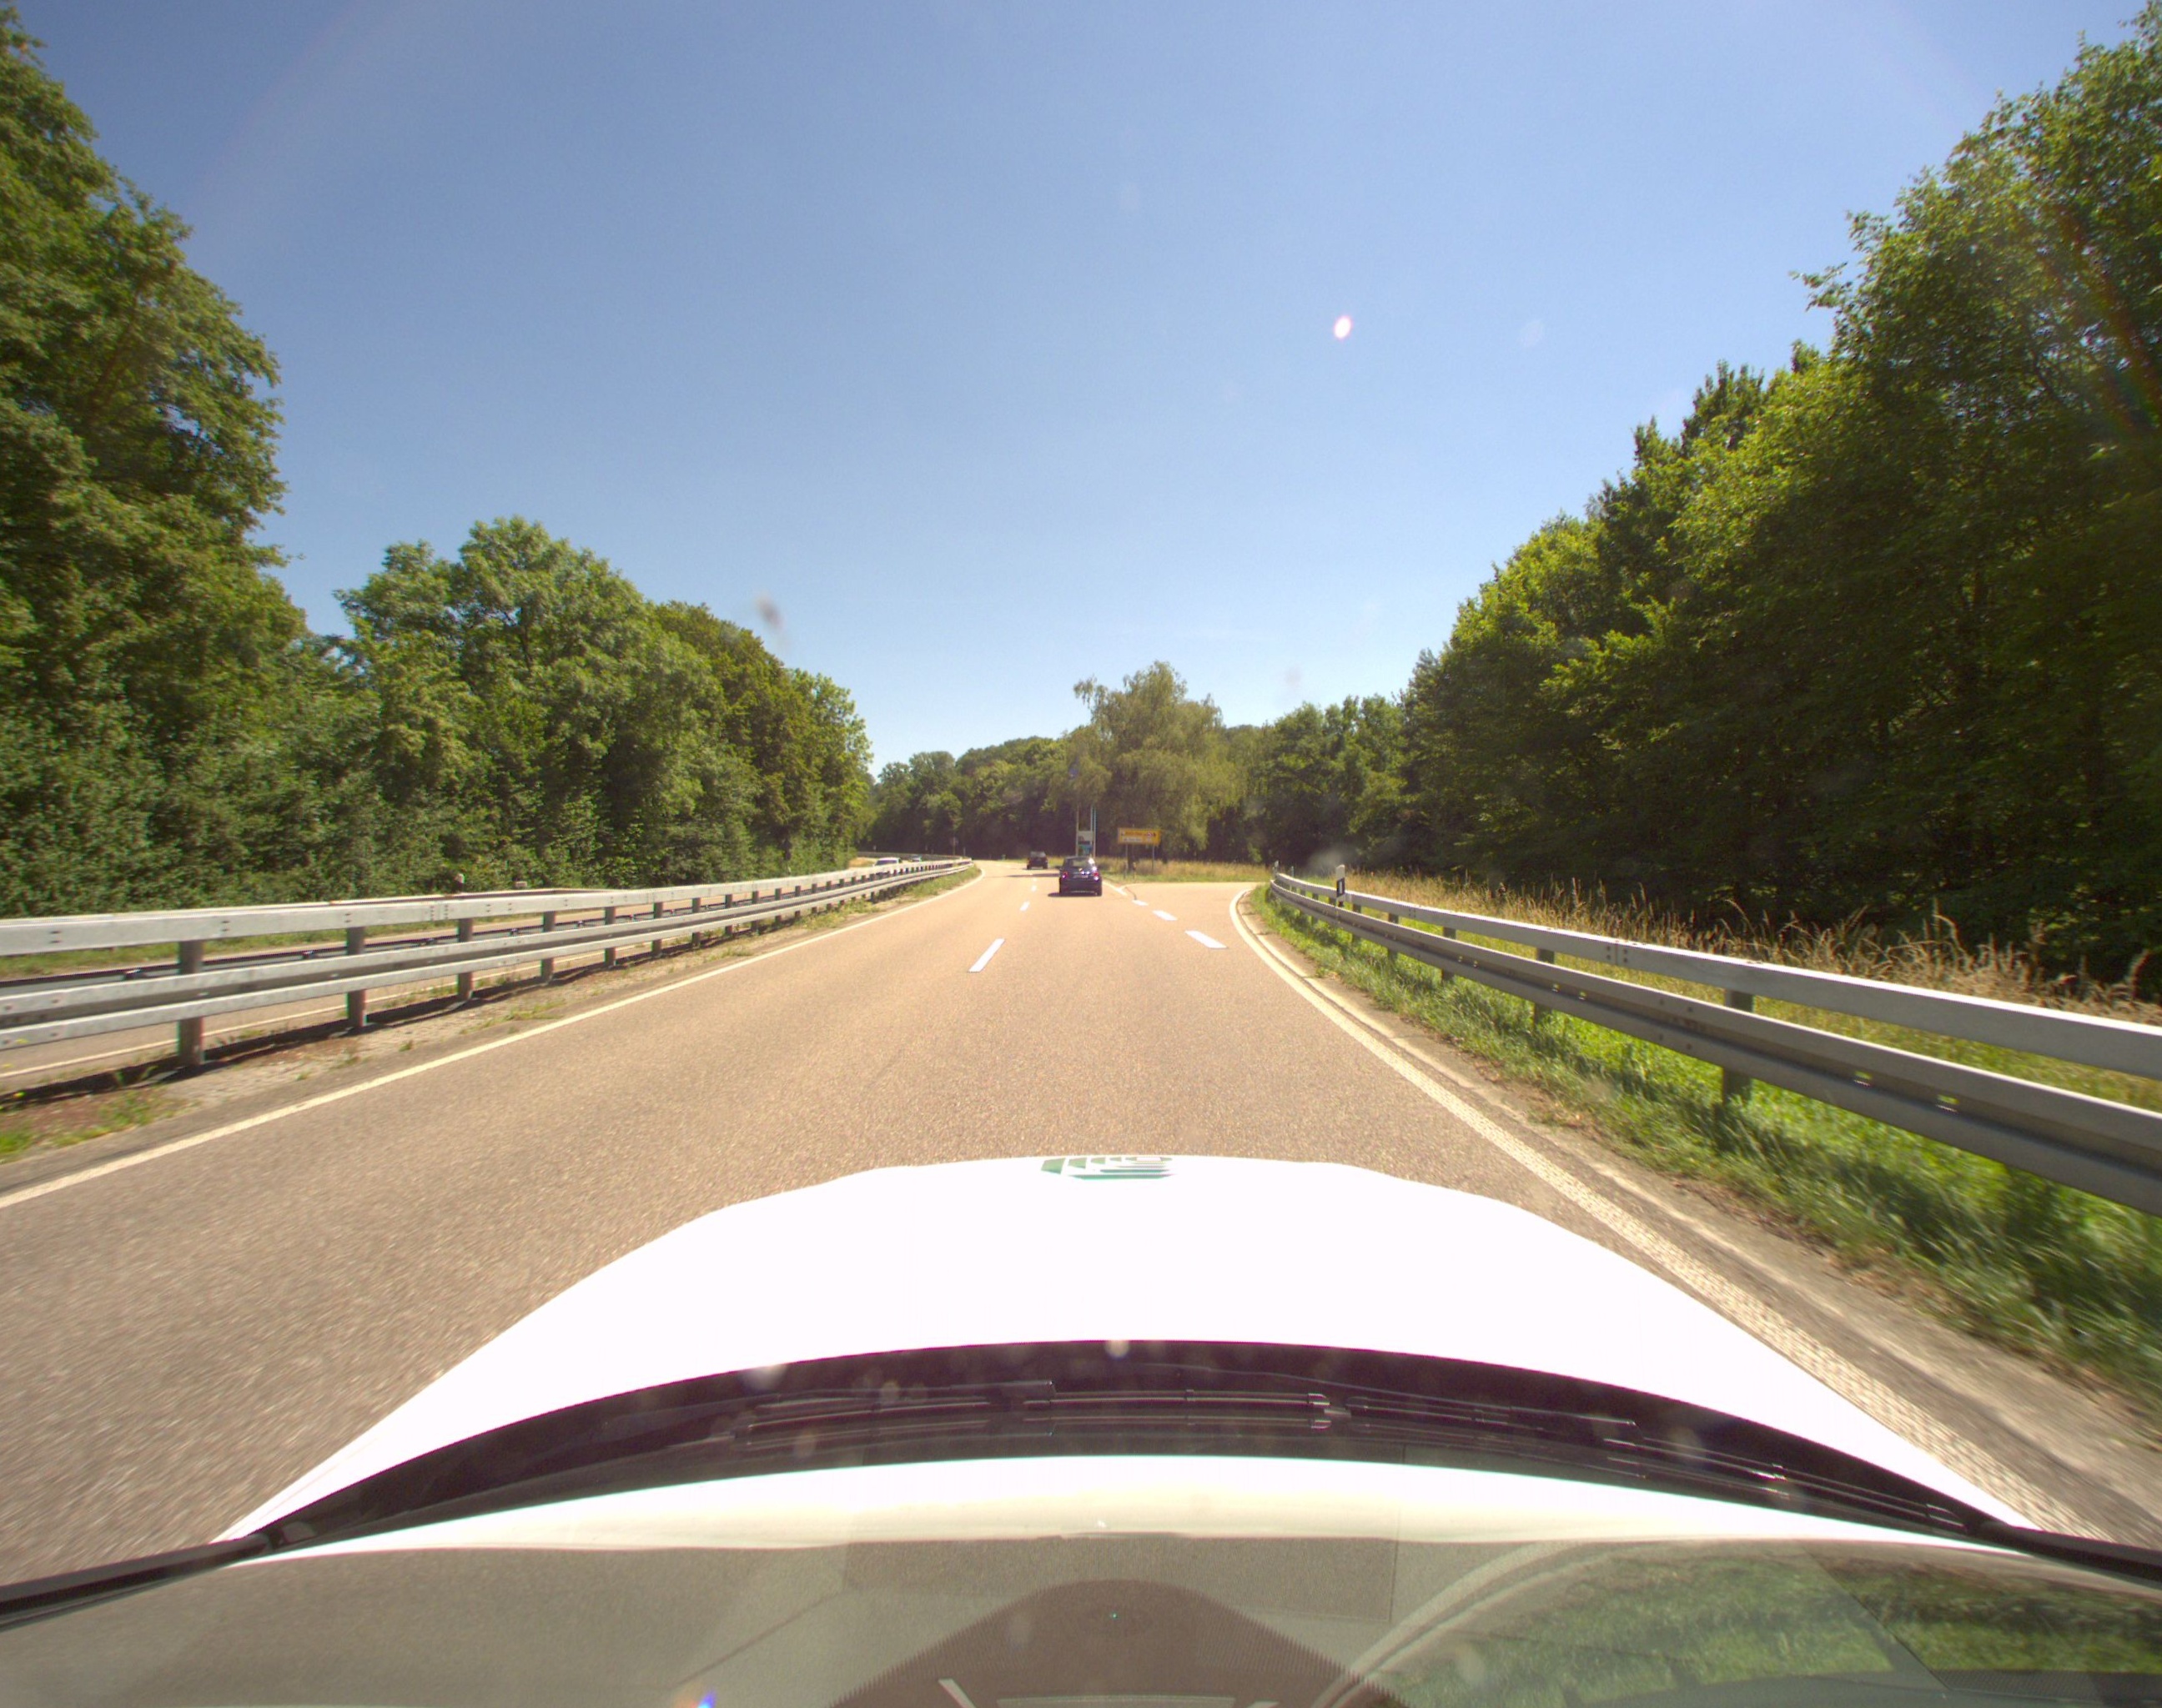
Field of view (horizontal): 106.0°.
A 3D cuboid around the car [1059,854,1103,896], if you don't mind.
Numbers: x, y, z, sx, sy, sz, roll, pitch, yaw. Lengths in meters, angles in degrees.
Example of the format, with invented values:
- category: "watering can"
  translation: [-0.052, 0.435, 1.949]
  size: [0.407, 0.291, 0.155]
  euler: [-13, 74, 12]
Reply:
- category: "car"
  translation: [0.039, 0.765, 31.381]
  size: [1.508, 1.501, 3.592]
  euler: [-1, 0, 2]

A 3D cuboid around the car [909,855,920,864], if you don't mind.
- category: "car"
  translation: [-28.286, 0.923, 138.152]
  size: [1.443, 1.381, 3.827]
  euler: [-1, 0, -16]

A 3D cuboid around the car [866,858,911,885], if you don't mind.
- category: "car"
  translation: [-12.061, 1.039, 51.233]
  size: [1.750, 1.573, 4.412]
  euler: [-1, 0, -1]

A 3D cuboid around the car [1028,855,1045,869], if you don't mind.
- category: "car"
  translation: [-4.261, 0.754, 77.243]
  size: [1.523, 1.313, 3.409]
  euler: [-1, 0, -5]
